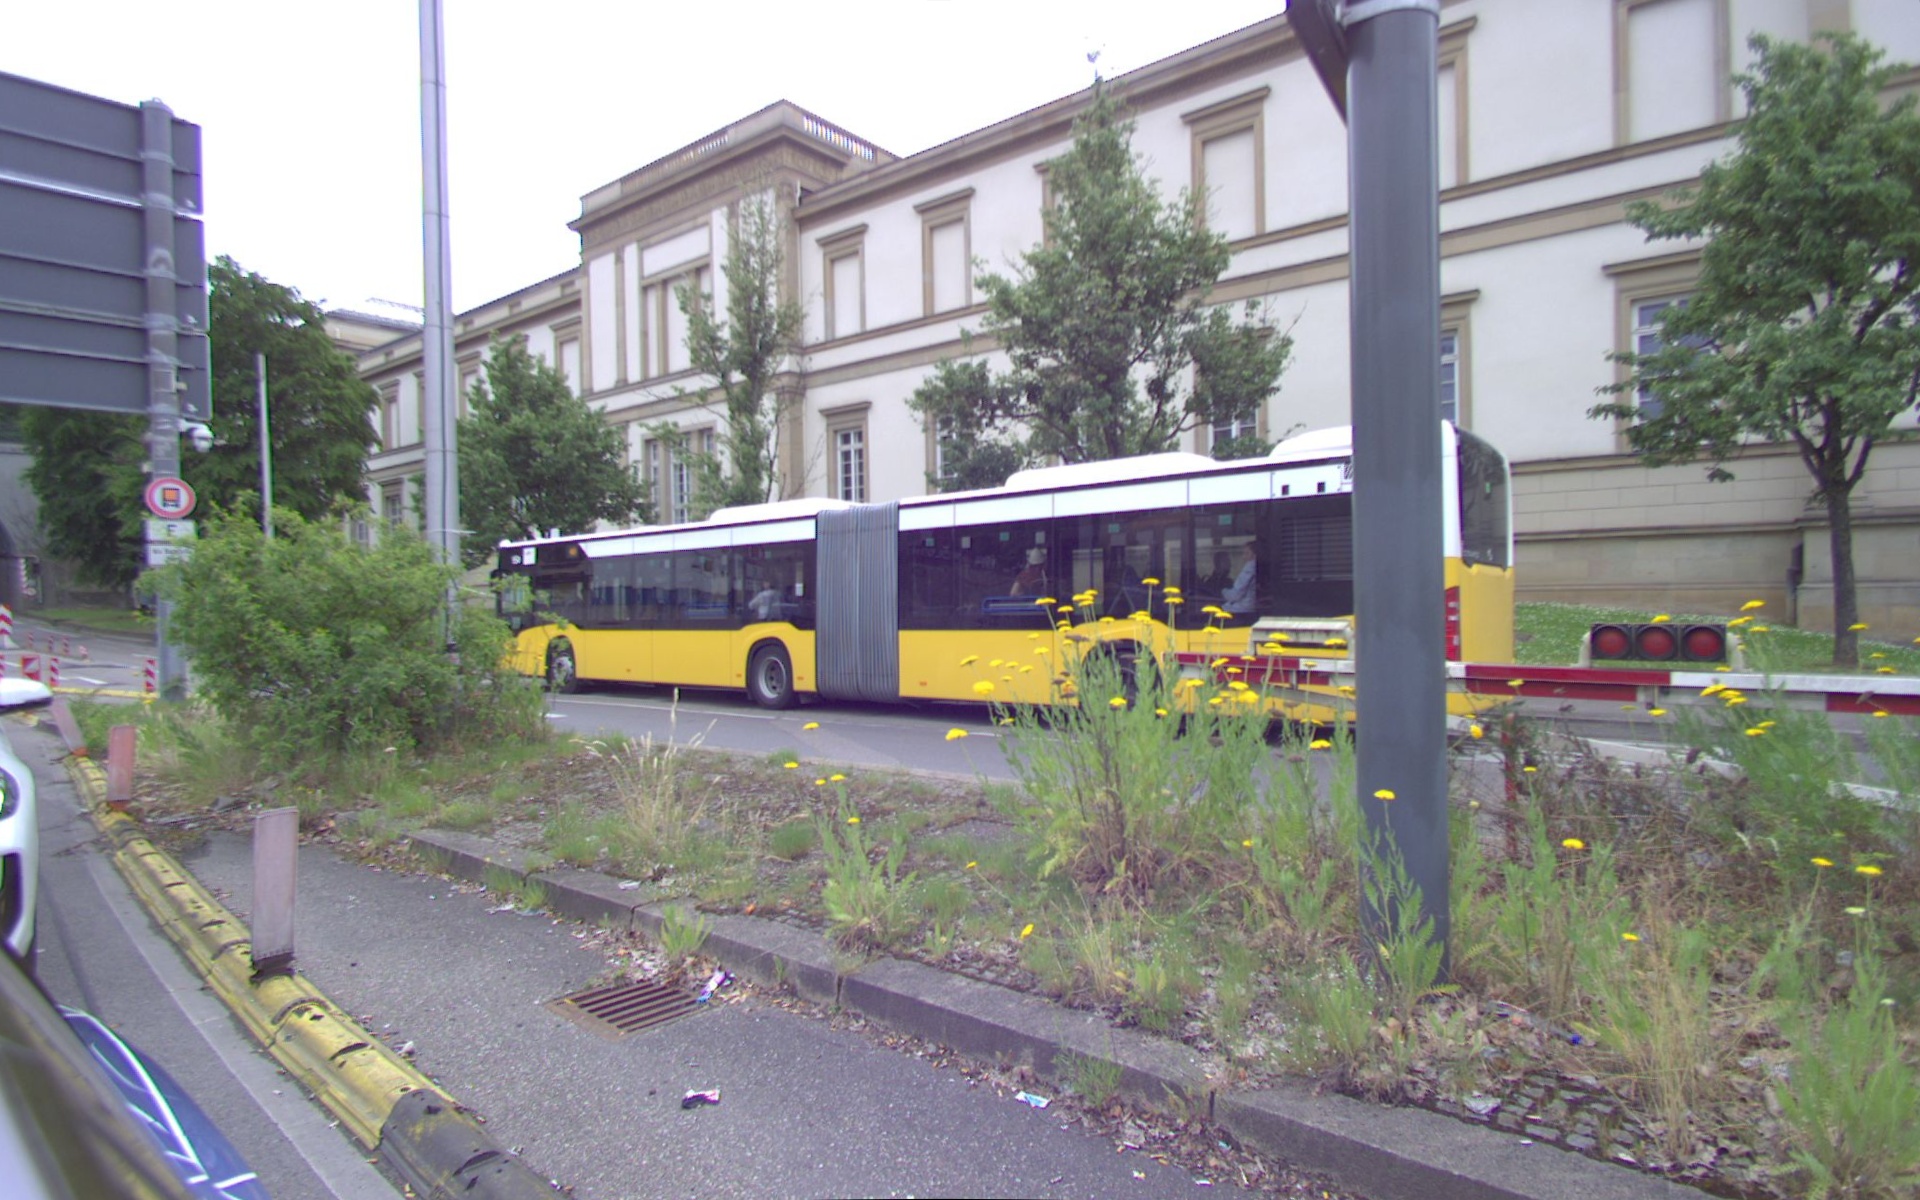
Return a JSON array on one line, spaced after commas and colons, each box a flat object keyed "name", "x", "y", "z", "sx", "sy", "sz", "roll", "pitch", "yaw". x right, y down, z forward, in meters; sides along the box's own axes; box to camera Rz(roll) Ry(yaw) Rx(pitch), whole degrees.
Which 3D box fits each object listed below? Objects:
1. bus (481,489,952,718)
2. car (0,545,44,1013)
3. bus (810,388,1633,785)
[{"name": "bus", "x": -4.812, "y": 0.115, "z": 18.044, "sx": 9.738, "sy": 3.137, "sz": 2.818, "roll": -1, "pitch": 0, "yaw": 39}, {"name": "car", "x": -5.268, "y": 0.666, "z": 4.177, "sx": 3.881, "sy": 1.603, "sz": 1.824, "roll": -2, "pitch": 0, "yaw": 42}, {"name": "bus", "x": 2.352, "y": -0.043, "z": 12.026, "sx": 9.114, "sy": 3.137, "sz": 2.817, "roll": -1, "pitch": 0, "yaw": 40}]
